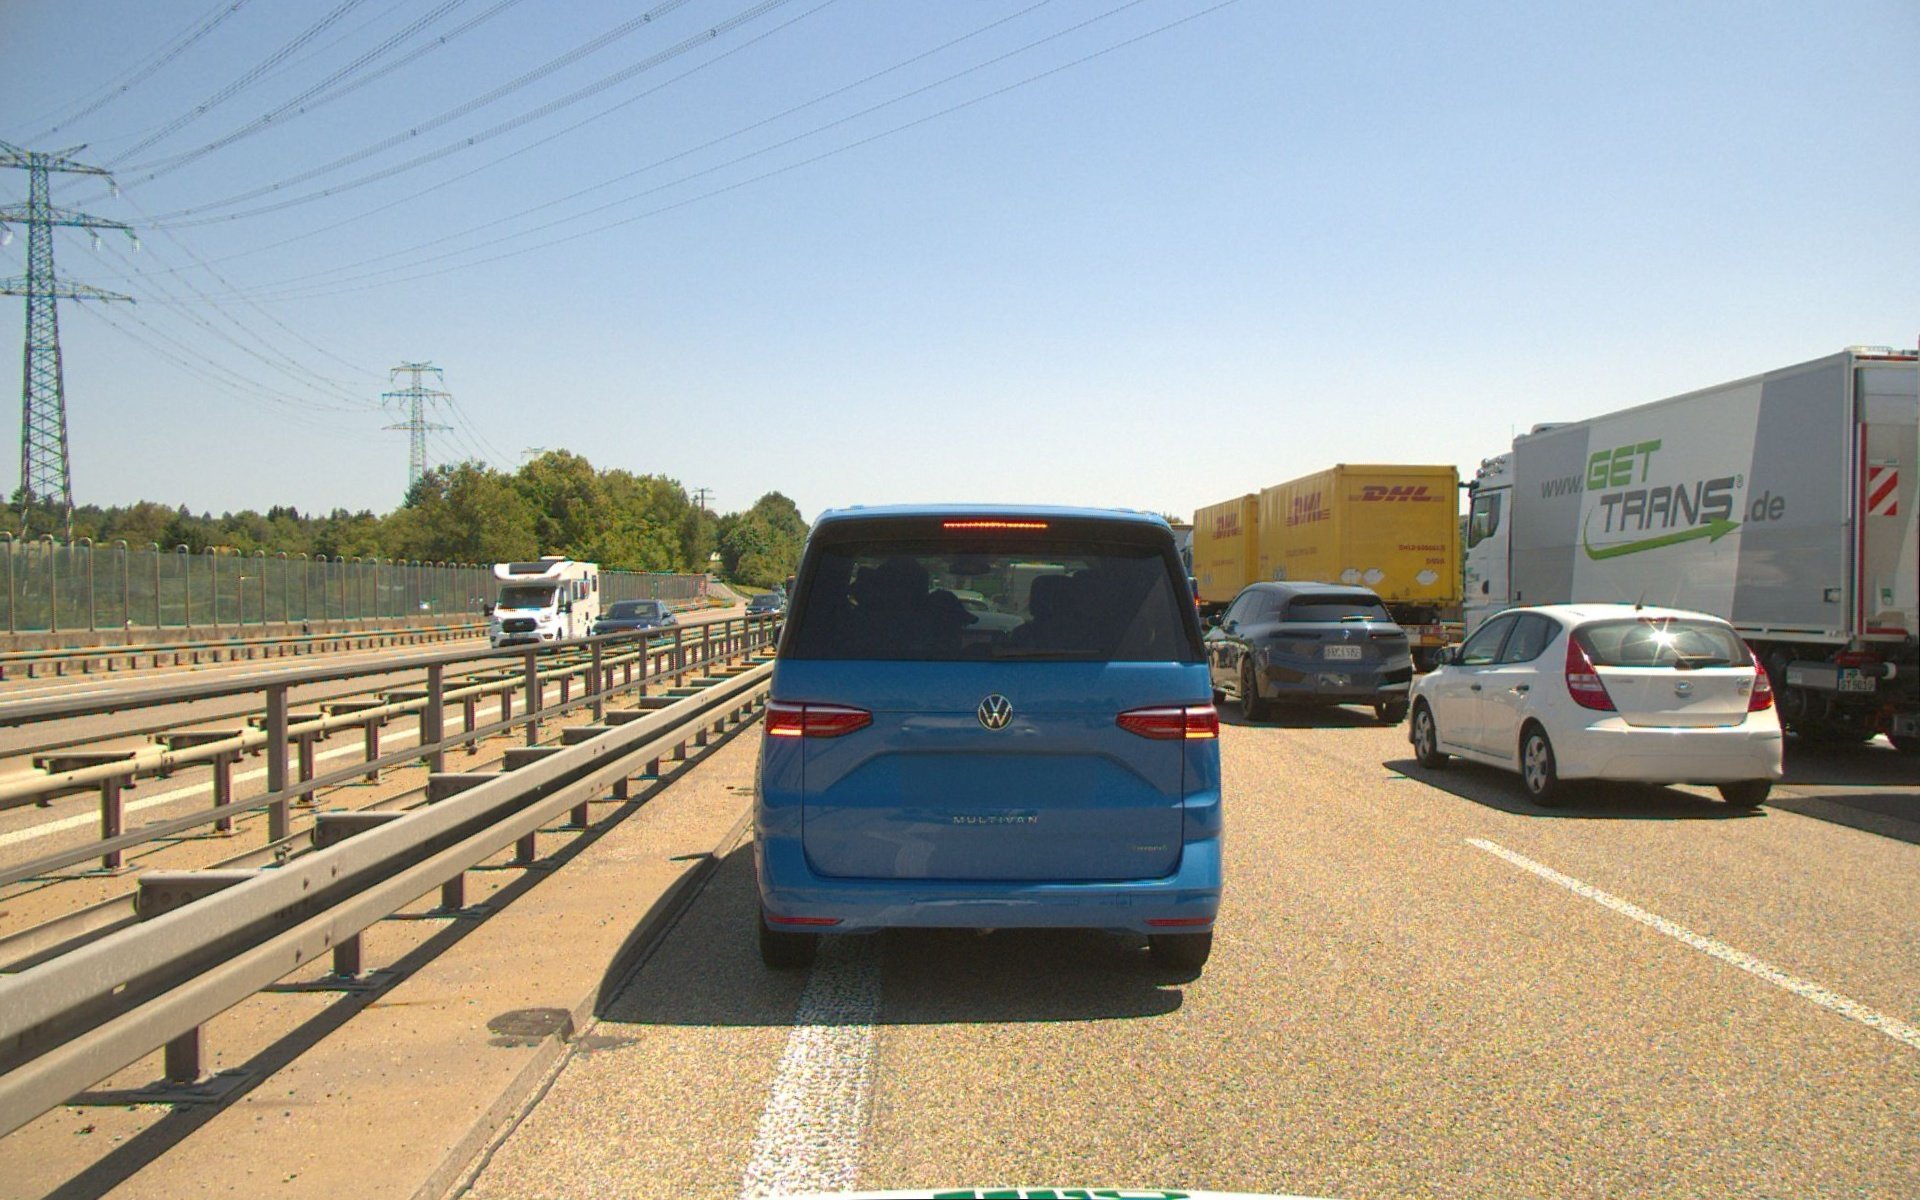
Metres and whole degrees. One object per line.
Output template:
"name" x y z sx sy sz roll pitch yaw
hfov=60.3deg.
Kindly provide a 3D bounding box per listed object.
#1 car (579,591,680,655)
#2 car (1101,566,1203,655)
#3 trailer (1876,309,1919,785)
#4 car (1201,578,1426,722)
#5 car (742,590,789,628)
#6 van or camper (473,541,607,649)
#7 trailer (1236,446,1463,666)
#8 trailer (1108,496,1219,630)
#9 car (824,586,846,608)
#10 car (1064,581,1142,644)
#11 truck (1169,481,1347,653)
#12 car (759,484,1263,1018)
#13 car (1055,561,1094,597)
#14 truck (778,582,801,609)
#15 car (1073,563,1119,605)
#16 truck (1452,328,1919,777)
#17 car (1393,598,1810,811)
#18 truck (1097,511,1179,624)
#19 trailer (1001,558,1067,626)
"car" -8.964 0.586 45.167 1.830 1.558 4.423 -4 0 -1
"car" 4.592 0.234 40.131 1.922 2.028 4.292 0 0 -1
"trailer" 9.004 -0.408 9.727 2.643 3.765 8.012 0 0 -1
"car" 4.434 0.572 21.400 1.922 1.673 4.292 0 0 -1
"car" -9.790 0.438 83.440 1.830 1.729 4.429 -4 1 -1
"van or camper" -12.972 -0.160 51.670 2.373 3.076 7.025 -2 0 -1
"trailer" 8.482 -0.858 37.293 2.806 4.313 9.009 1 0 -1
"trailer" 7.594 -1.309 63.147 2.583 4.595 11.298 1 0 -1
"car" -12.687 -0.293 168.513 1.825 2.168 4.267 -3 0 0
"car" 4.271 0.359 50.069 1.953 1.847 3.999 0 0 -1
"truck" 8.234 -0.839 47.296 2.779 4.317 11.007 1 0 -2
"car" 0.157 0.543 7.951 1.783 1.890 4.074 1 0 -1
"car" 6.721 -1.206 97.497 1.953 2.049 4.460 -1 0 -1
"truck" -22.761 -0.647 220.496 2.447 3.424 5.833 -2 0 -1
"car" 6.839 -0.768 83.520 1.953 2.049 3.999 1 0 -1
"truck" 8.784 -0.421 19.242 2.603 3.711 11.007 0 0 -1
"car" 5.076 0.733 13.780 1.752 1.481 4.292 0 0 -1
"truck" 7.486 -1.305 70.273 2.613 4.562 6.848 1 0 -1
"trailer" 3.467 -0.333 79.776 2.517 3.042 10.660 1 0 -1
